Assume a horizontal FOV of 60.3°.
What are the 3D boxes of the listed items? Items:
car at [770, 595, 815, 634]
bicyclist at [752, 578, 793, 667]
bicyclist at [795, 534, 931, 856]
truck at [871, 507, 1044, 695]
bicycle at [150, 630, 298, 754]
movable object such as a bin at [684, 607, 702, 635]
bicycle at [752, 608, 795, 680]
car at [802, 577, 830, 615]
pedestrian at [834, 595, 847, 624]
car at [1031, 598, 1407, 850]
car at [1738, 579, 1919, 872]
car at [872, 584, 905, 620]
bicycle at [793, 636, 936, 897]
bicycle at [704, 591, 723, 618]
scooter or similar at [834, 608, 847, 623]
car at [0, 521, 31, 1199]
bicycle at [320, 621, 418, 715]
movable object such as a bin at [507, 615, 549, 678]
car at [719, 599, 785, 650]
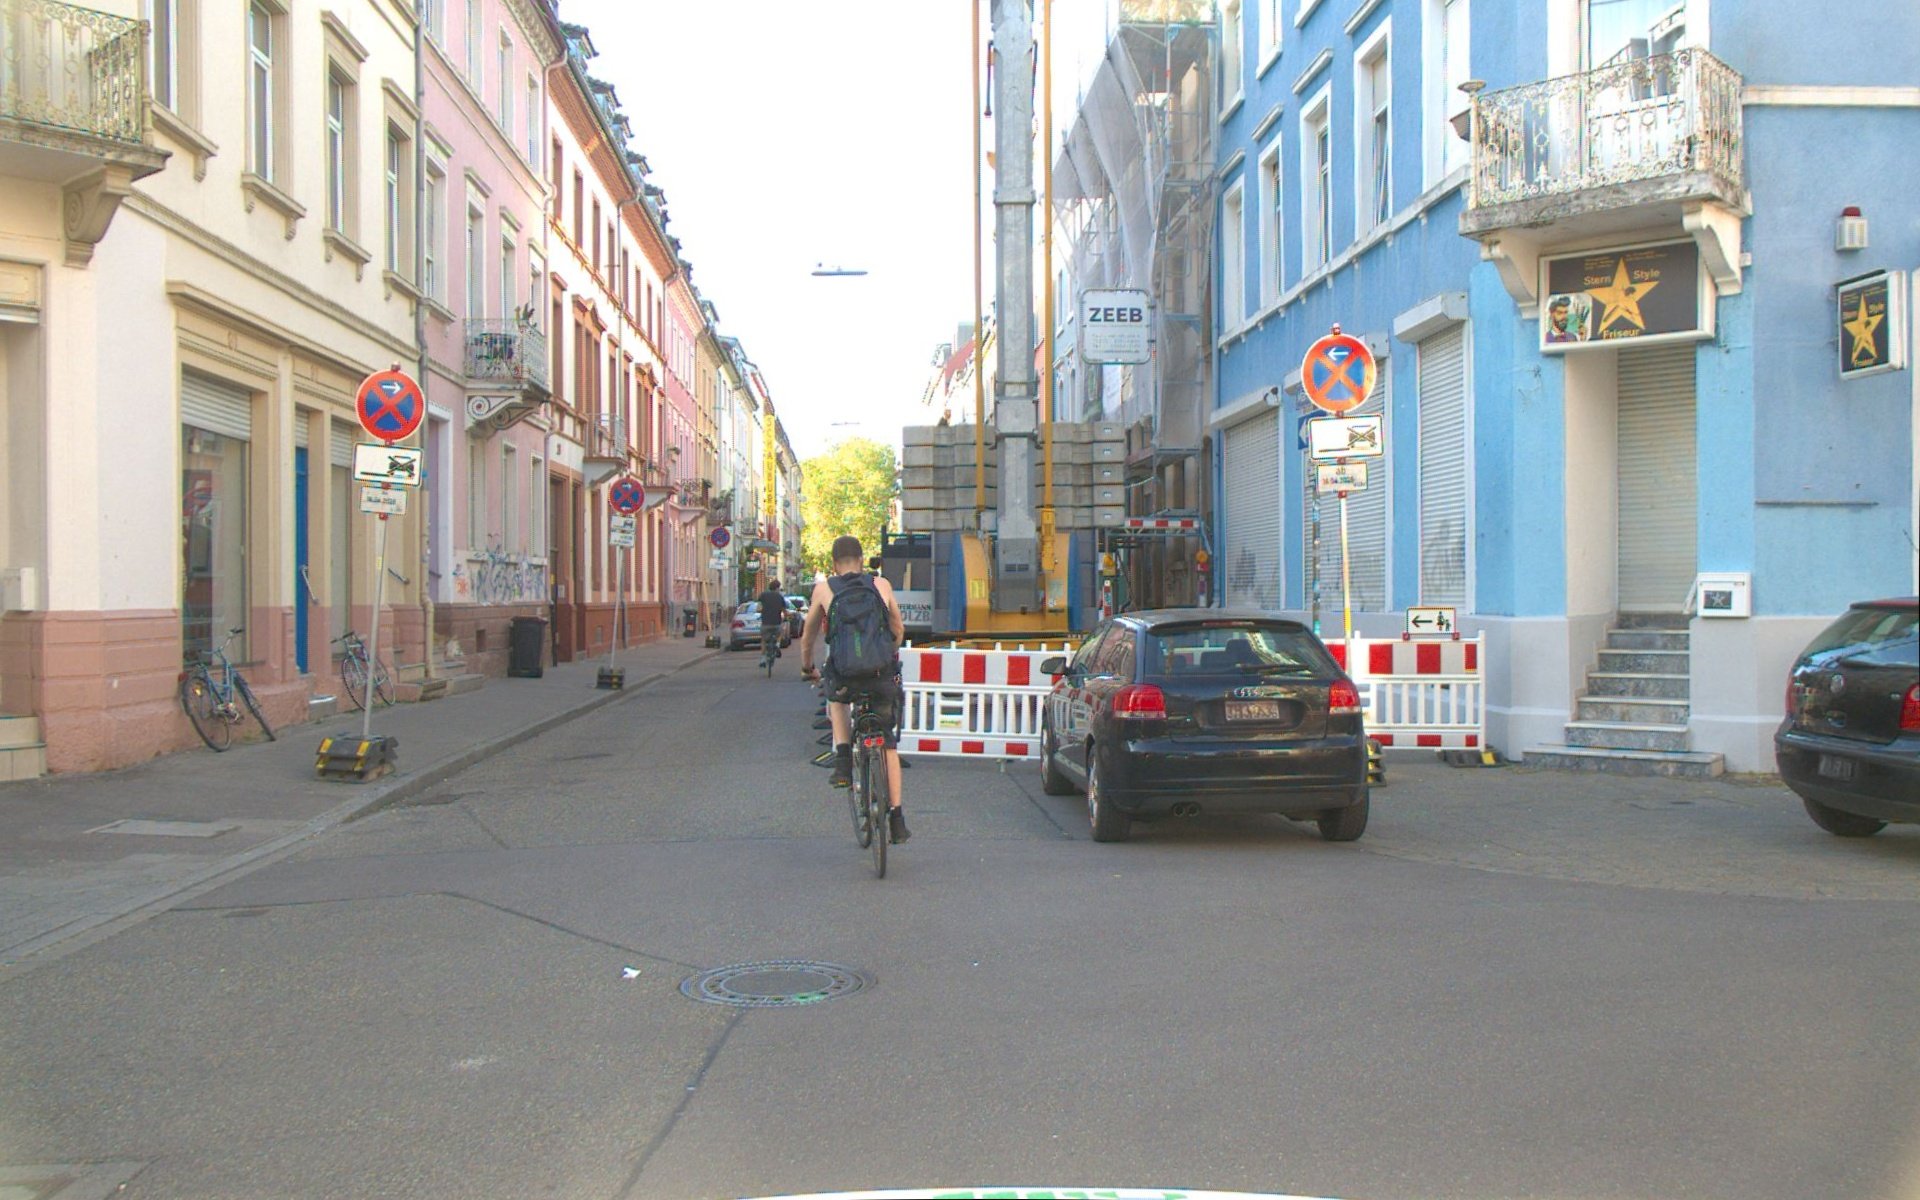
[{"bbox_3d":[-6.829,0.601,67.822,1.639,1.467,4.162,-3,0,-4],"label":"car"},{"bbox_3d":[-3.554,0.419,31.414,0.688,1.633,0.812,-1,1,-4],"label":"bicyclist"},{"bbox_3d":[-0.540,0.491,9.141,0.688,1.662,1.089,-1,0,-4],"label":"bicyclist"},{"bbox_3d":[-0.231,0.032,29.216,2.608,2.863,7.388,1,0,-3],"label":"truck"},{"bbox_3d":[-6.778,0.818,15.330,0.591,1.040,1.817,3,-1,-3],"label":"bicycle"},{"bbox_3d":[-9.051,0.706,56.025,0.533,0.961,0.487,1,-1,-3],"label":"movable object such as a bin"},{"bbox_3d":[-3.523,0.808,31.408,0.688,1.229,2.340,-1,1,-4],"label":"bicycle"},{"bbox_3d":[-10.032,-0.268,115.057,1.873,2.540,4.160,-1,0,-6],"label":"car"},{"bbox_3d":[-6.891,0.545,95.304,0.756,1.606,0.899,1,-1,-6],"label":"pedestrian"},{"bbox_3d":[1.604,0.720,11.634,1.737,1.459,4.030,0,0,-4],"label":"car"},{"bbox_3d":[6.650,0.630,9.310,3.791,1.479,1.675,0,0,-4],"label":"car"},{"bbox_3d":[-5.517,0.150,126.572,2.262,2.582,6.764,-3,0,-4],"label":"car"},{"bbox_3d":[-0.542,0.841,9.290,0.688,1.229,2.340,-1,0,-4],"label":"bicycle"},{"bbox_3d":[-10.298,0.206,69.141,0.581,1.108,2.077,1,0,-3],"label":"bicycle"},{"bbox_3d":[-6.854,0.888,94.882,0.756,0.888,0.770,1,-1,-6],"label":"scooter or similar"},{"bbox_3d":[-2.672,0.695,1.414,1.689,1.633,4.161,-2,1,-6],"label":"car"},{"bbox_3d":[-7.092,0.792,19.920,0.610,1.040,1.817,1,0,-3],"label":"bicycle"},{"bbox_3d":[-7.468,0.799,28.598,0.594,1.053,0.596,1,-1,-5],"label":"movable object such as a bin"},{"bbox_3d":[-6.285,0.713,50.385,1.677,1.407,4.502,-3,0,-4],"label":"car"}]
